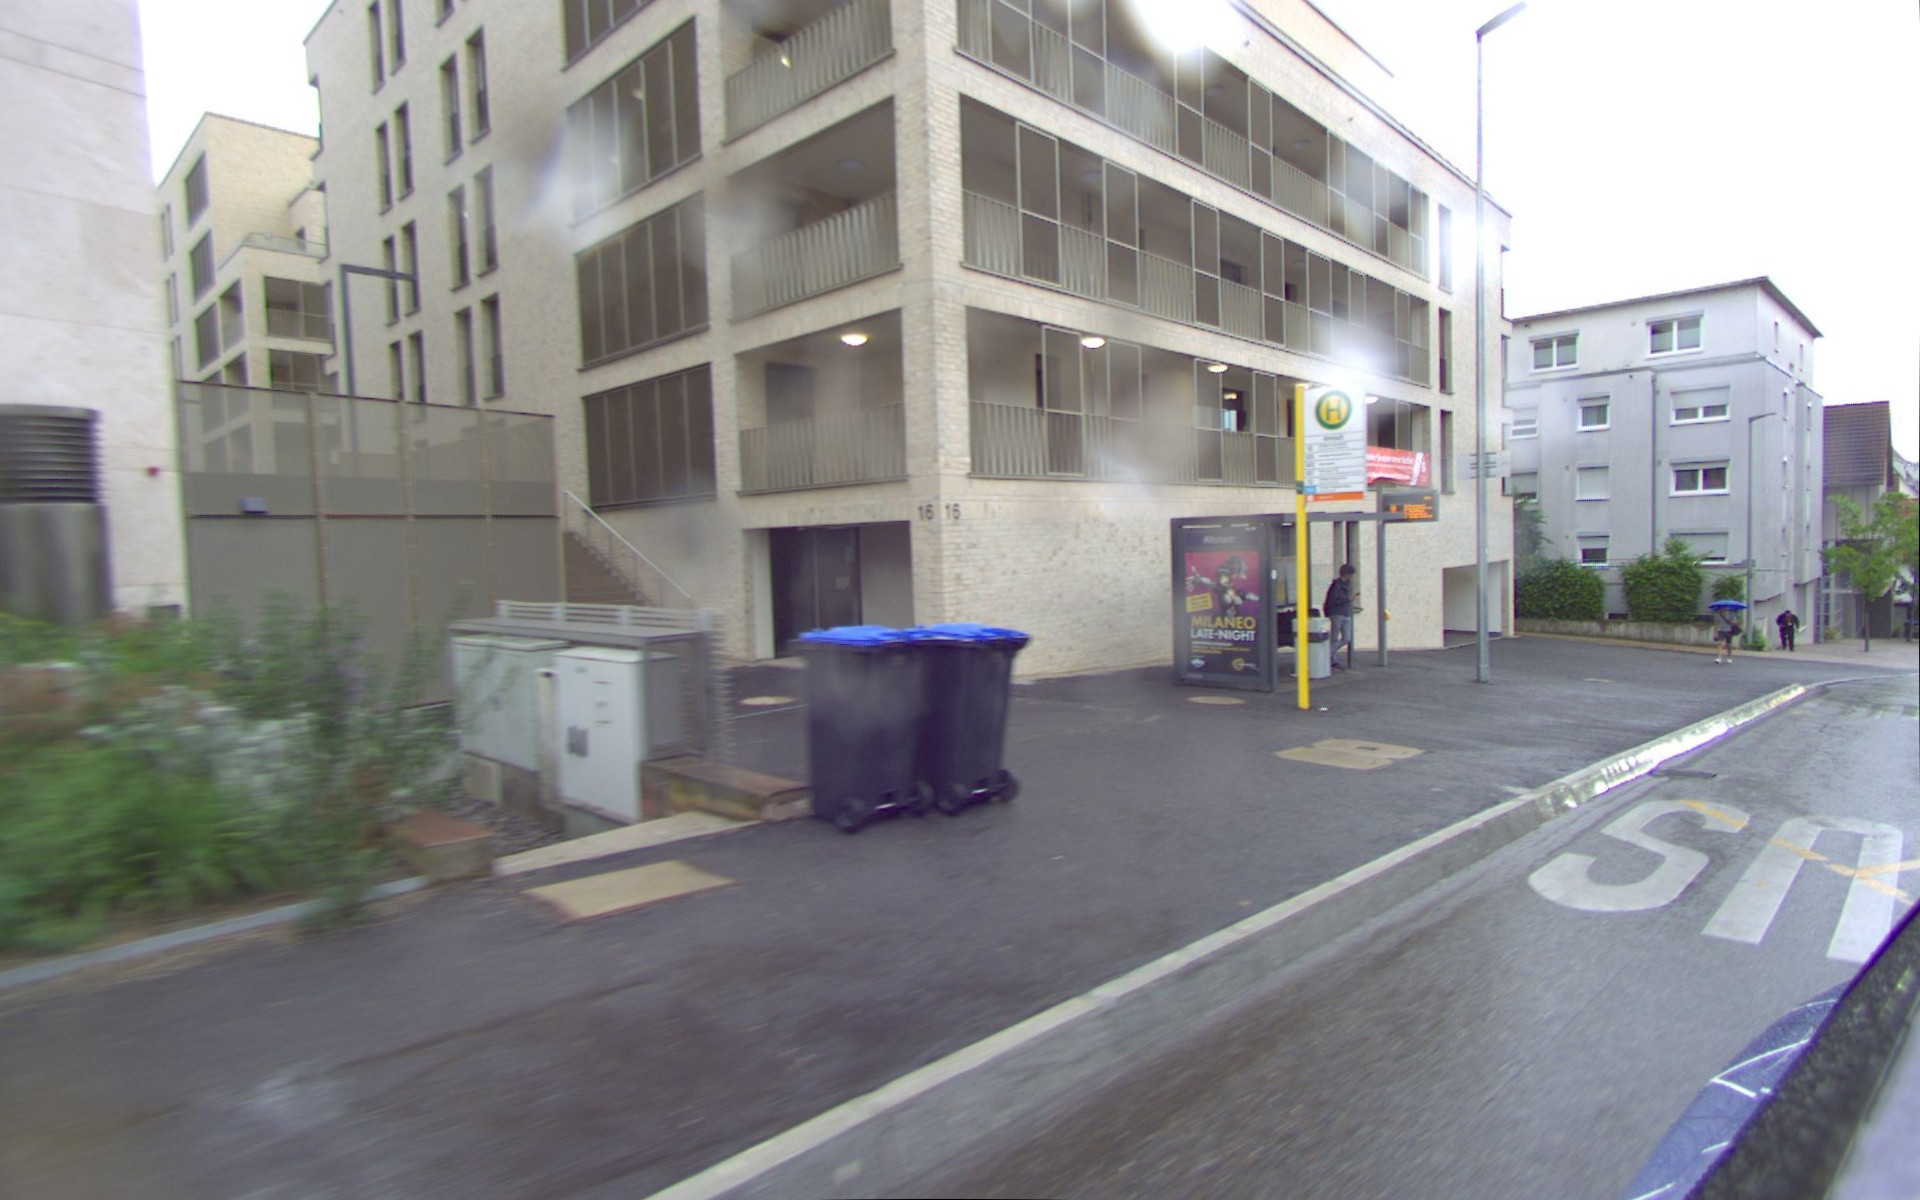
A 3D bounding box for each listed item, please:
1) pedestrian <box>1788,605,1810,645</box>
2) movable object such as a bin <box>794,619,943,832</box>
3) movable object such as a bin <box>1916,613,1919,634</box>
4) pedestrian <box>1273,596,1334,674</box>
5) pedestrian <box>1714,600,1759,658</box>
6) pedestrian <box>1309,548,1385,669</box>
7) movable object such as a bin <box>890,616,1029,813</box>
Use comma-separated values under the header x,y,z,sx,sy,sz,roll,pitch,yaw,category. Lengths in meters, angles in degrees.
x,y,z,sx,sy,sz,roll,pitch,yaw,category
33.413,0.978,40.304,0.689,1.576,0.700,0,-1,41,pedestrian
-0.510,0.655,5.647,0.569,1.075,0.596,1,1,-44,movable object such as a bin
62.460,1.522,65.097,1.152,1.352,1.237,2,1,-41,movable object such as a bin
5.484,0.547,16.168,0.624,1.176,0.673,1,2,-43,pedestrian
21.875,0.805,28.516,1.020,1.560,0.737,1,3,-41,pedestrian
6.575,0.126,17.194,1.004,1.964,0.783,1,2,-43,pedestrian
-0.005,0.647,6.065,0.569,1.075,0.596,1,1,-44,movable object such as a bin
